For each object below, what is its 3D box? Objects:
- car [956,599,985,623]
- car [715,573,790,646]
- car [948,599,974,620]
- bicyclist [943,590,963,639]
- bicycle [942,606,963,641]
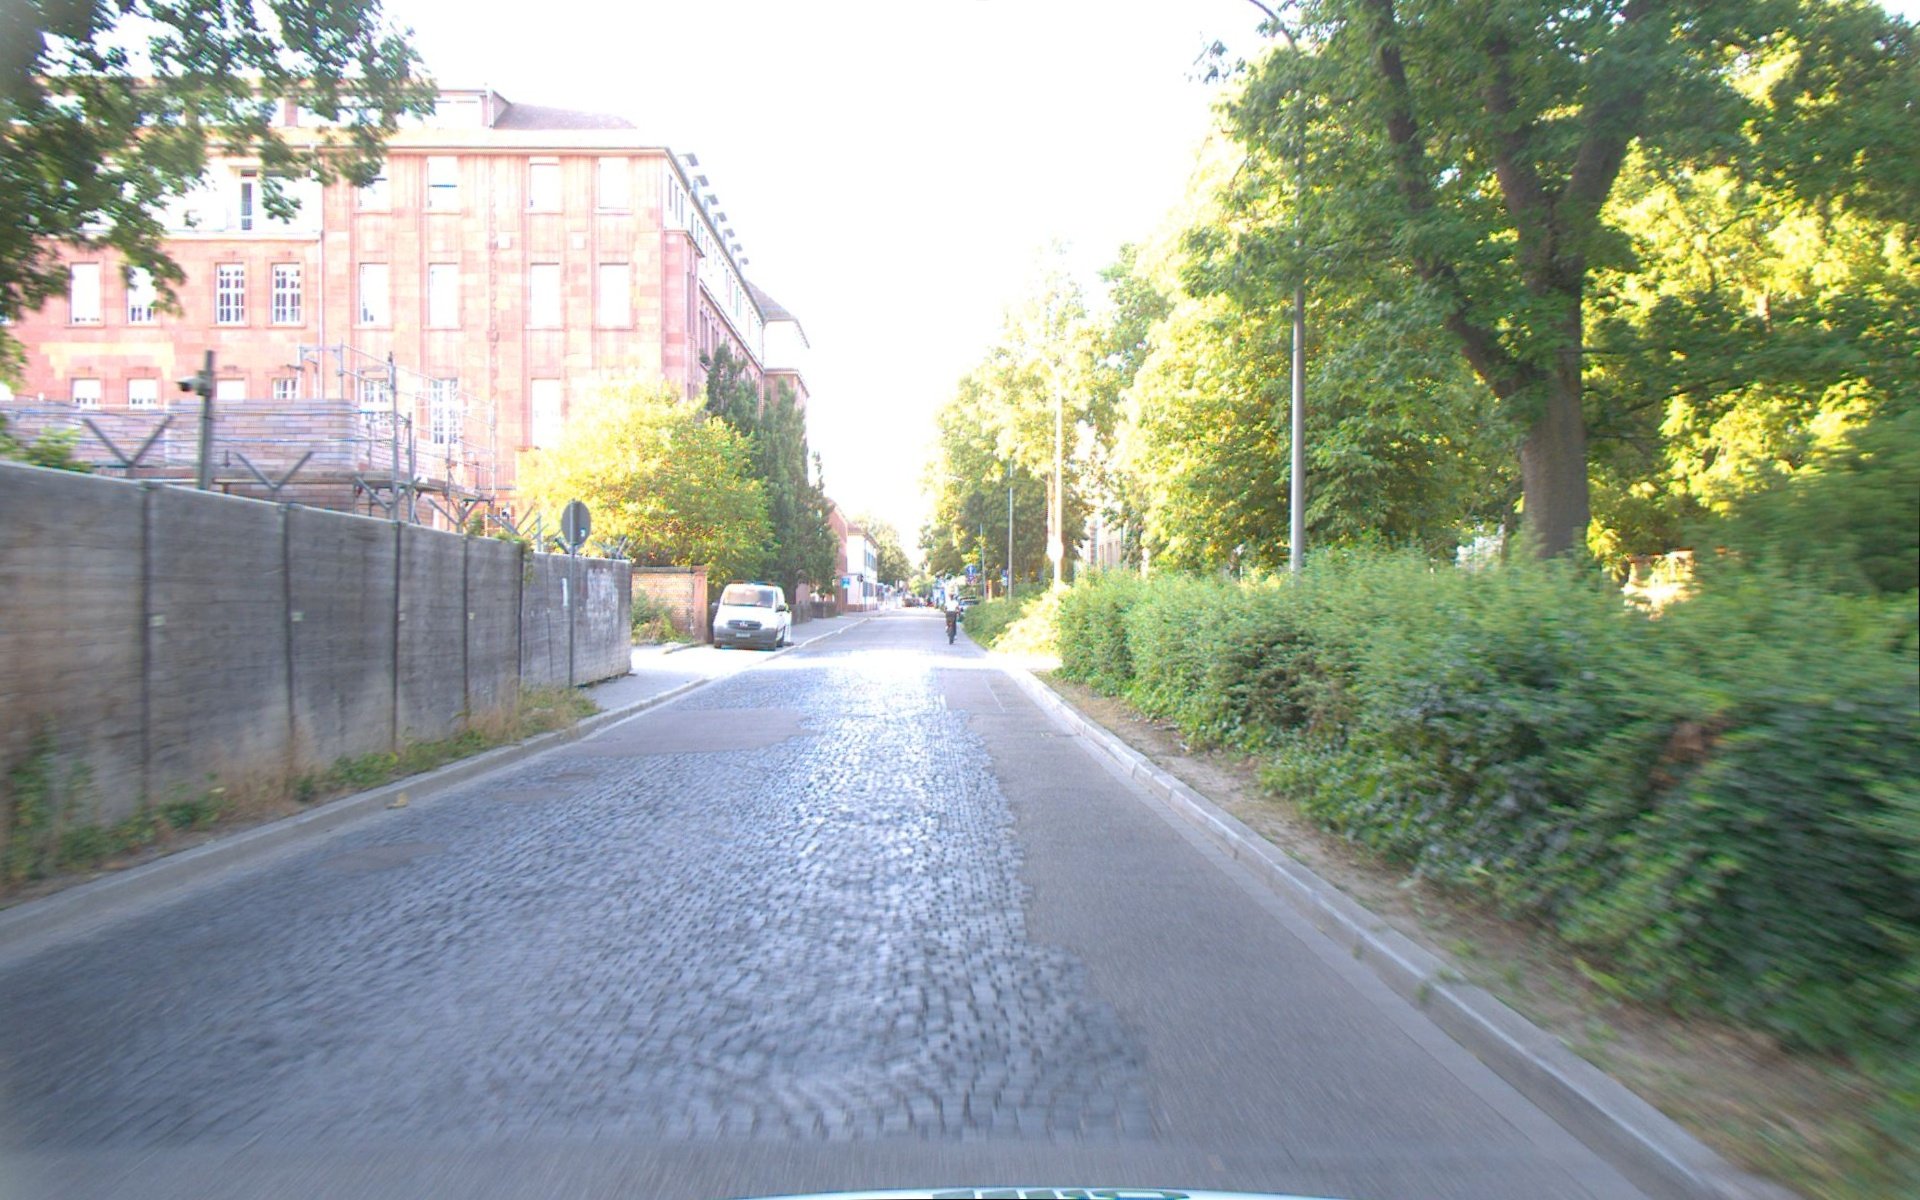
[{"bbox_3d":[0.679,0.768,109.755,1.652,1.472,3.669,-3,-1,-3],"label":"car"},{"bbox_3d":[-6.249,0.314,50.246,1.845,2.049,5.222,1,-1,-3],"label":"car"},{"bbox_3d":[0.071,0.686,123.899,1.681,1.564,4.046,0,0,-3],"label":"car"},{"bbox_3d":[-0.256,0.502,58.703,0.626,1.696,0.842,1,0,-3],"label":"bicyclist"},{"bbox_3d":[-0.264,0.819,58.728,0.625,1.214,1.875,1,0,-3],"label":"bicycle"}]
